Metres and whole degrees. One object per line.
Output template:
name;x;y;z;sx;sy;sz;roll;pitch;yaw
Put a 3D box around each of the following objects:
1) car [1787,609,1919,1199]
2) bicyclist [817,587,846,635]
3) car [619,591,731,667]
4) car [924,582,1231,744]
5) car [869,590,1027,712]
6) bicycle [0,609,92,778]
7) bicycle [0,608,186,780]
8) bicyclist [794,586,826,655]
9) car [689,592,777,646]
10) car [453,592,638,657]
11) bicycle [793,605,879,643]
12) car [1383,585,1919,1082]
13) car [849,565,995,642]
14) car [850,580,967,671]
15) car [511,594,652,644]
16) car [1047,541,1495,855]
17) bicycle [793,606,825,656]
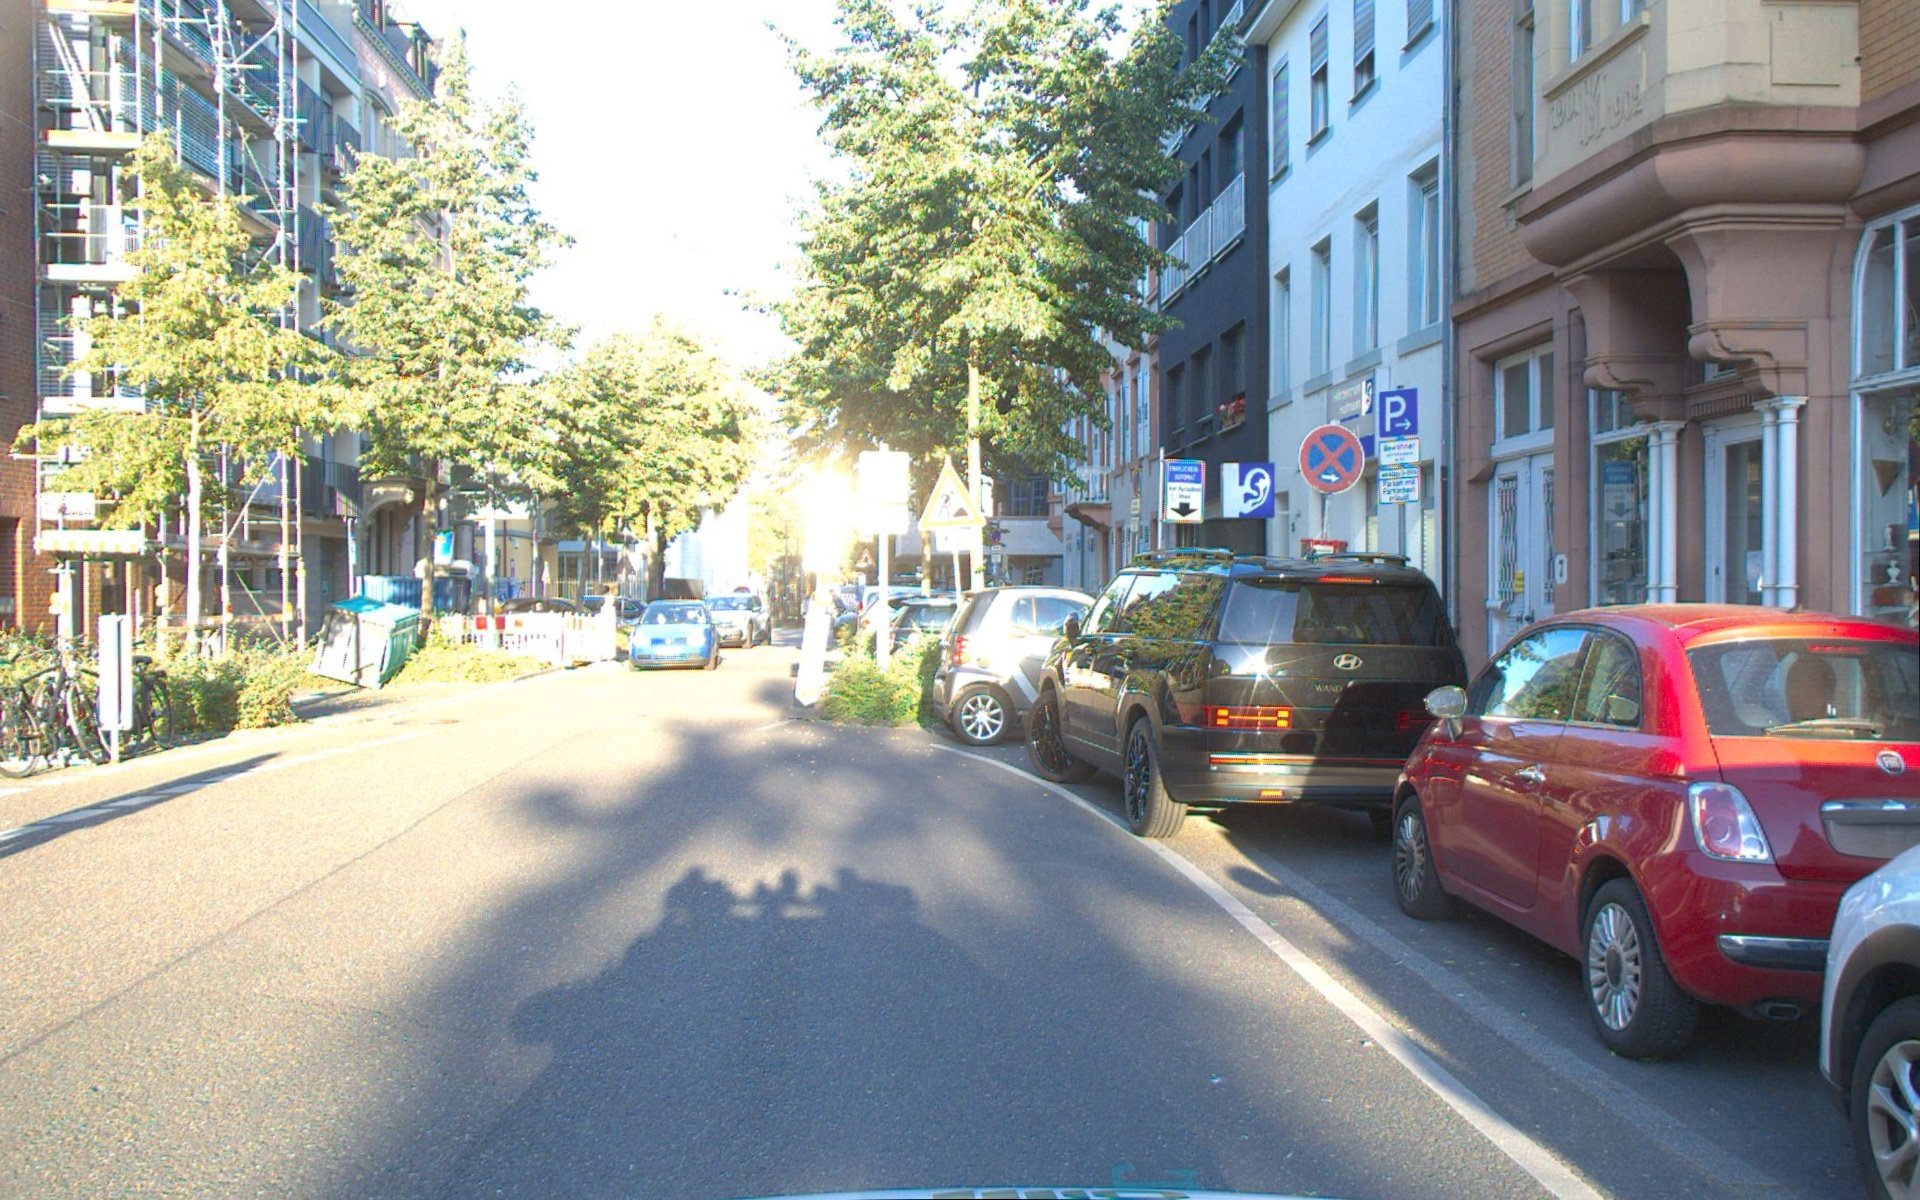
car;3.116;0.735;2.532;1.633;1.402;3.800;1;0;-3
bicyclist;-4.790;0.410;61.536;0.985;1.726;0.781;-1;0;-9
car;-5.897;0.558;34.653;1.801;1.466;4.329;0;0;-3
car;1.166;0.629;17.020;2.913;1.563;1.431;1;0;-8
car;-0.287;0.726;25.651;1.955;1.697;4.502;1;0;-7
bicycle;-8.736;0.796;14.815;0.877;1.420;3.156;0;0;-12
bicycle;-7.875;0.767;15.015;0.829;1.374;3.177;0;0;-12
bicyclist;-3.819;0.515;42.132;0.766;1.726;1.006;-1;0;-6
car;-6.779;0.552;49.837;1.845;1.506;4.460;1;0;2
car;-10.052;0.589;40.330;4.020;1.491;1.888;1;0;-3
bicycle;-4.632;0.884;61.502;3.119;1.374;0.845;-1;0;-10
car;2.966;0.726;6.703;1.555;1.509;3.265;1;0;-2
car;-1.011;0.093;45.275;3.905;2.049;2.000;0;0;0
car;-1.281;0.569;38.923;2.223;1.796;4.502;6;-1;-7
car;-11.880;0.600;52.157;4.020;1.491;1.888;1;0;-3
car;1.864;0.557;11.374;1.790;1.725;4.362;1;0;-7
bicycle;-3.862;0.786;42.332;0.765;1.225;2.018;-1;0;-6
